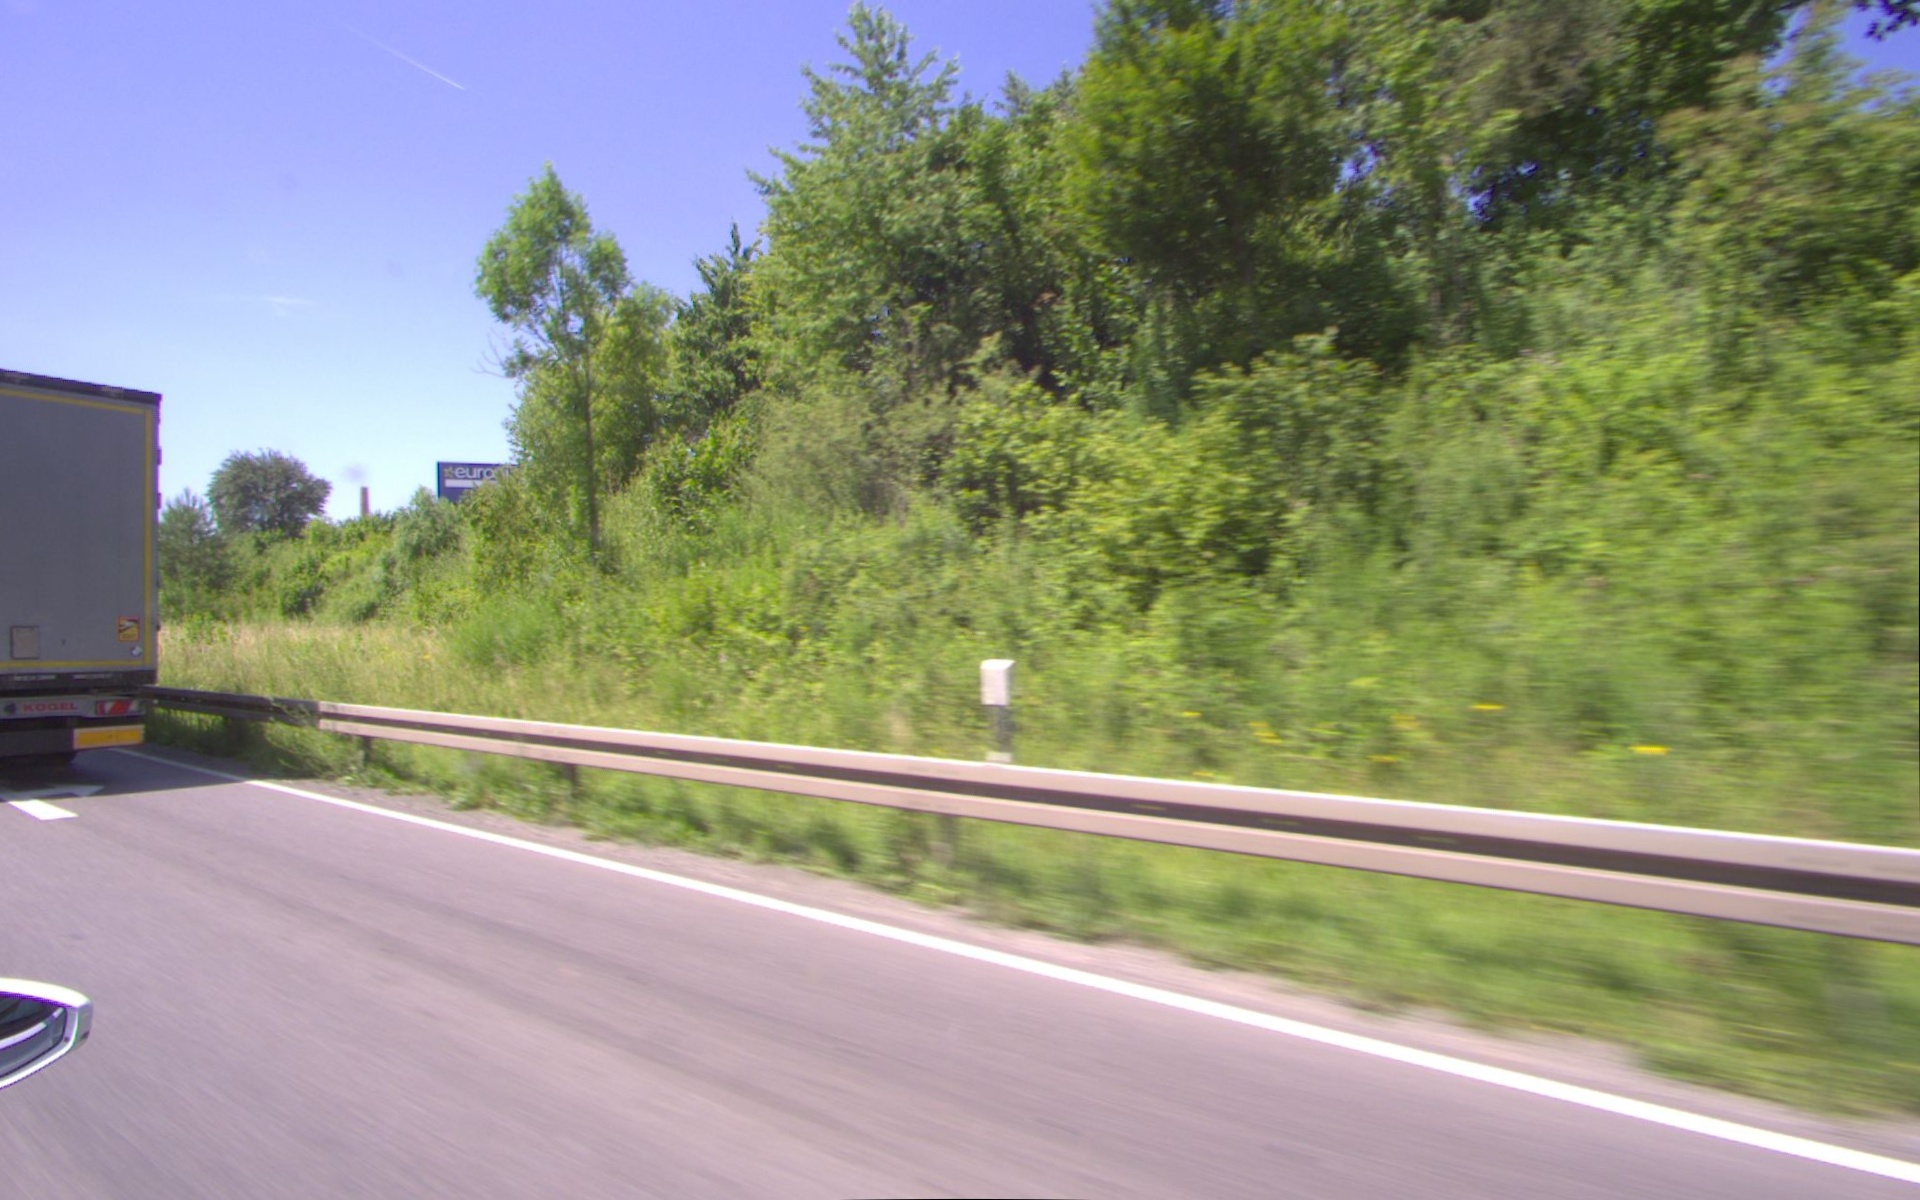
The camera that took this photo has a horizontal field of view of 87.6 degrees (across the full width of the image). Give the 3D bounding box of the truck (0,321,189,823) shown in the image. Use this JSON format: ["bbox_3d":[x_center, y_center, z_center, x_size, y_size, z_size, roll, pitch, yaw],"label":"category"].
[{"bbox_3d":[-15.518,0.044,14.327,16.444,4.696,2.747,-3,-3,37],"label":"truck"}]
